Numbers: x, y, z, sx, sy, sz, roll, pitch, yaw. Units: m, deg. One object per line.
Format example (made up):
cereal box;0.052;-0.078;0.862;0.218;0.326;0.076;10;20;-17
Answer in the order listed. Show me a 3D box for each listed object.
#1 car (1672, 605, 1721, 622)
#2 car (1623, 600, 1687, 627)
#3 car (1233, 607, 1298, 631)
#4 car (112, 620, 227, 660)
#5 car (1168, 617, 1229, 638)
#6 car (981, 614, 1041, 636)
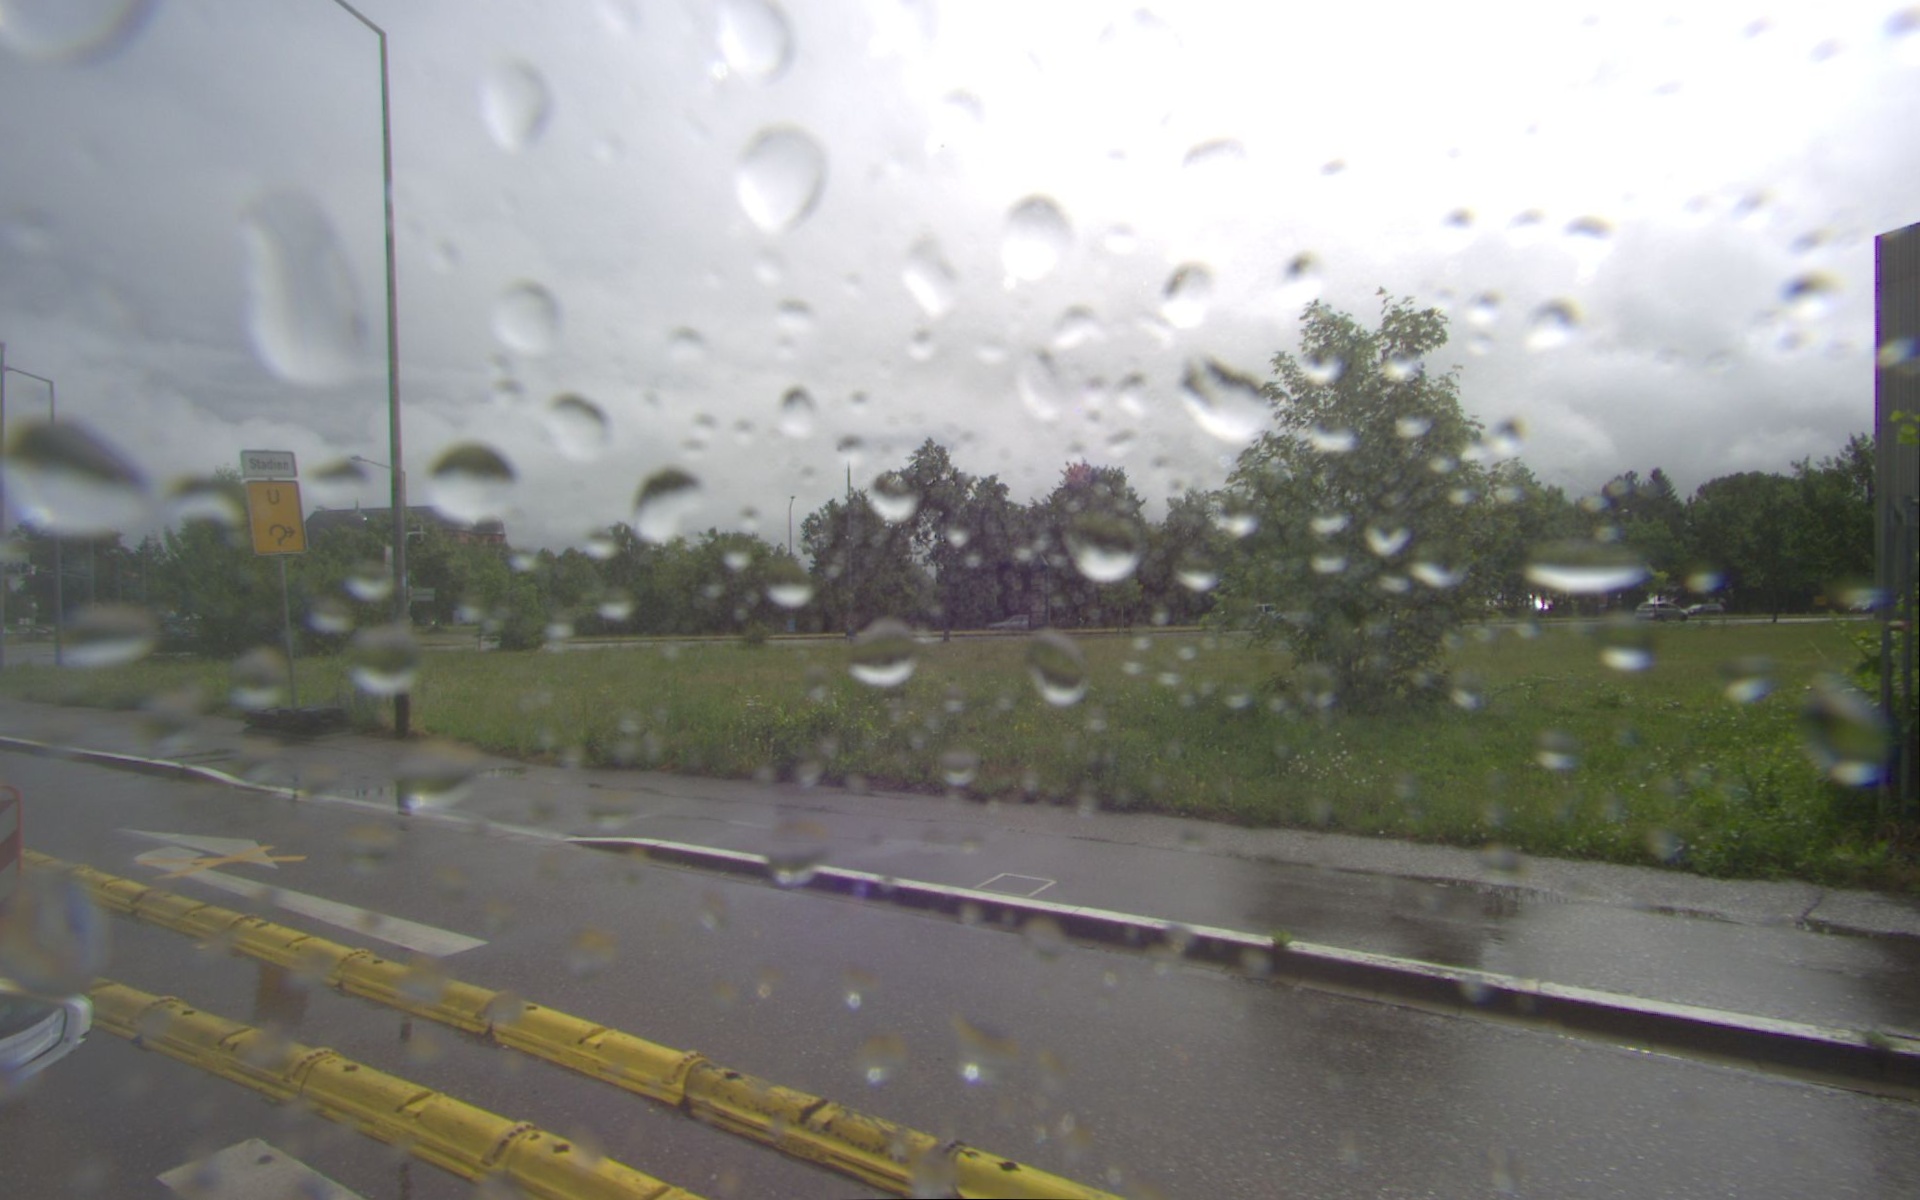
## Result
car;70.693;1.252;96.138;4.158;1.579;1.541;0;0;-15
car;53.139;1.047;76.607;3.929;2.040;1.997;0;-1;-17
car;25.452;1.578;83.443;4.874;1.944;1.996;0;0;-17
car;-34.671;1.740;44.013;3.910;1.666;1.657;1;-1;-40
car;18.451;2.126;77.525;4.227;1.581;1.911;0;0;-15
car;3.725;1.825;73.882;4.039;1.581;1.912;0;0;-13
